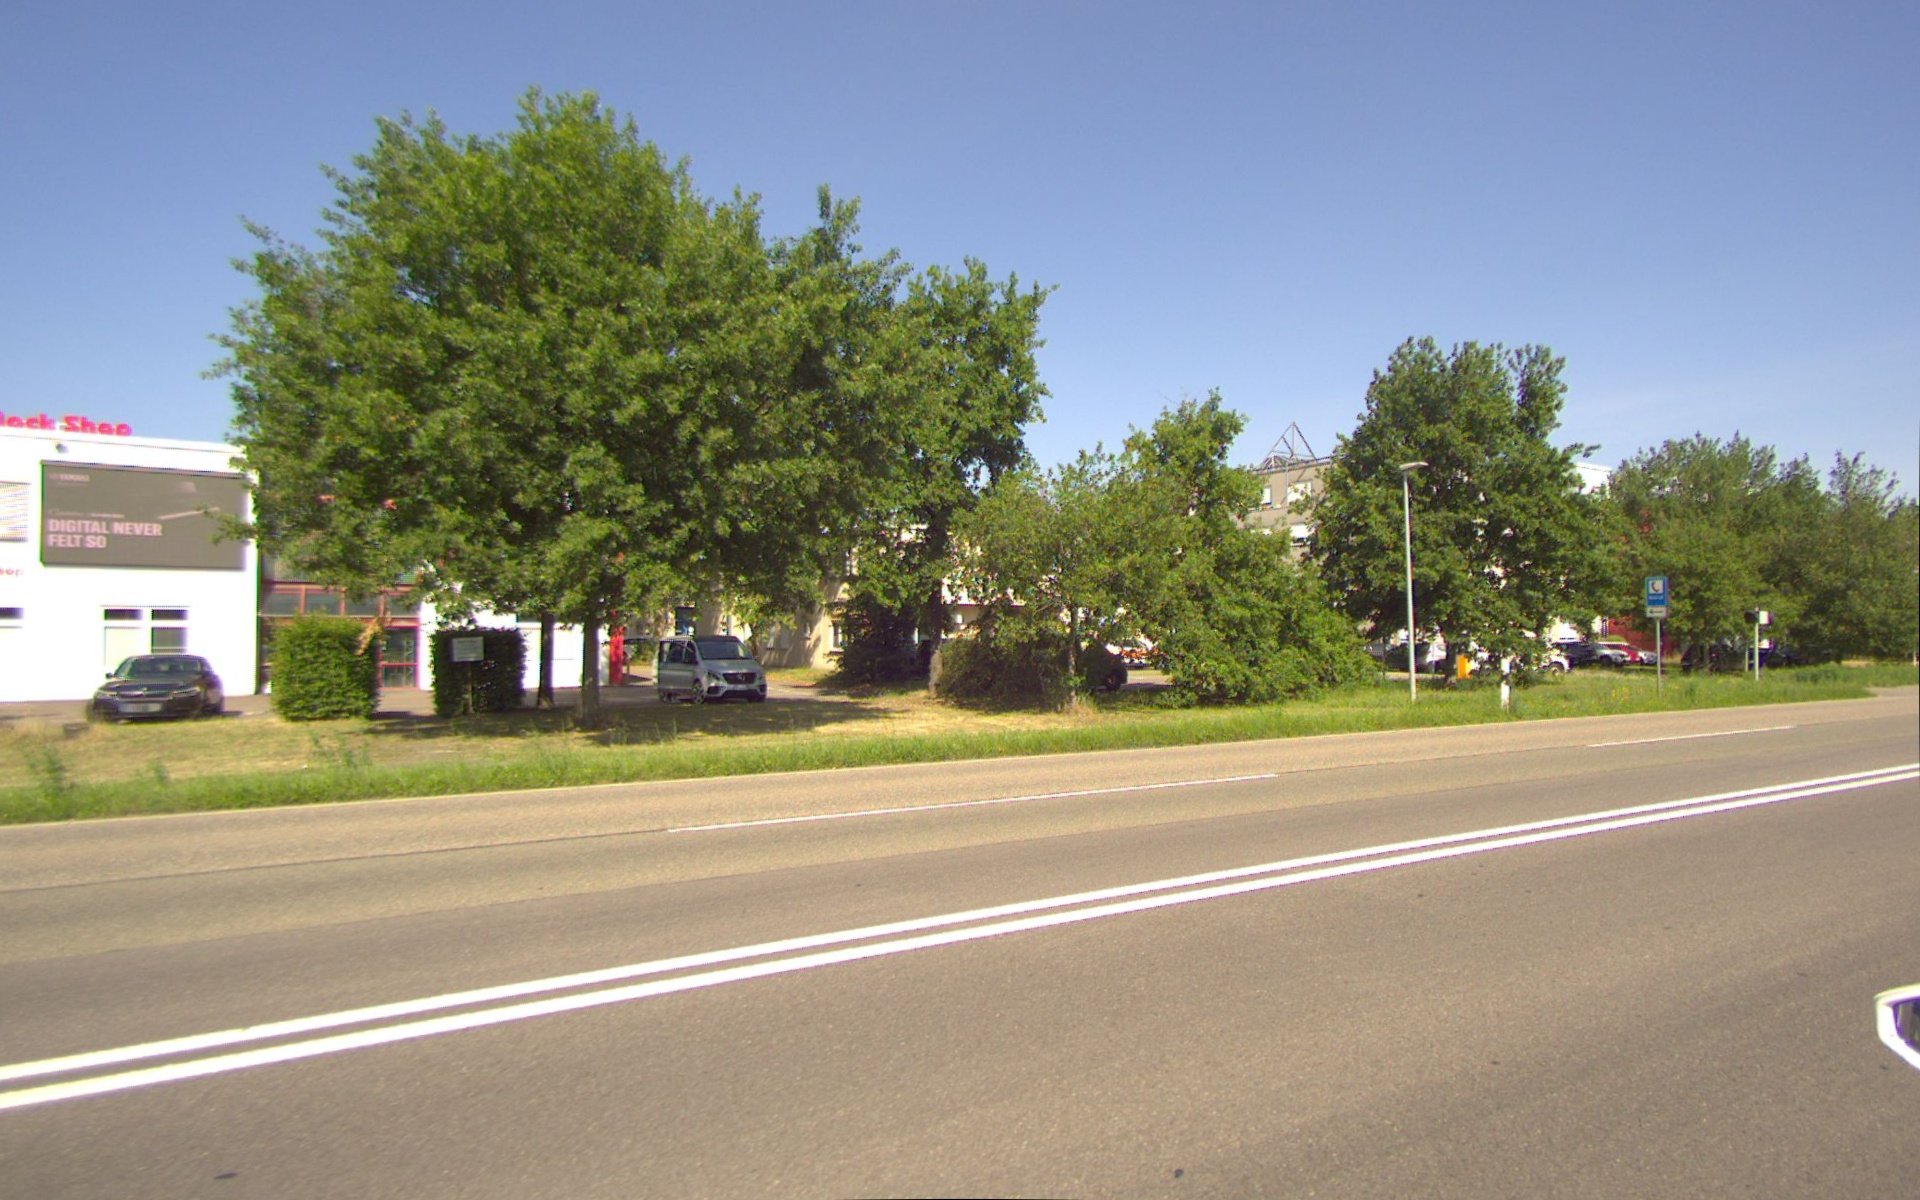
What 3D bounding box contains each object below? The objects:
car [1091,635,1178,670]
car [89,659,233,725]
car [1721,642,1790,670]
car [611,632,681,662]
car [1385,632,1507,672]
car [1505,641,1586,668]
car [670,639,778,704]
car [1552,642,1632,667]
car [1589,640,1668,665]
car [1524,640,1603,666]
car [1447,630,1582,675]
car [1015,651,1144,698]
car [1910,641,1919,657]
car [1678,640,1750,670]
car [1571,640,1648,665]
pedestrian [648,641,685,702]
[{"bbox_3d":[8.821,2.604,50.751,4.120,1.680,1.847,1,-2,-30],"label":"car"},{"bbox_3d":[-17.892,2.021,22.700,1.840,1.323,3.971,1,-4,-28],"label":"car"},{"bbox_3d":[47.919,3.334,60.499,4.495,1.599,1.735,1,-2,-30],"label":"car"},{"bbox_3d":[-19.296,2.897,61.947,3.931,1.684,1.995,1,0,-13],"label":"car"},{"bbox_3d":[23.390,2.496,48.489,4.916,1.830,2.075,1,-2,1],"label":"car"},{"bbox_3d":[36.376,3.343,62.477,1.866,1.557,3.968,1,-2,-30],"label":"car"},{"bbox_3d":[-6.970,2.061,29.323,1.976,1.753,4.204,1,-4,-30],"label":"car"},{"bbox_3d":[40.765,3.500,64.867,1.866,1.557,3.968,1,-2,-30],"label":"car"},{"bbox_3d":[45.161,3.525,67.912,1.722,1.606,4.115,1,-2,-30],"label":"car"},{"bbox_3d":[38.524,3.358,64.207,1.866,1.557,3.968,1,-2,-30],"label":"car"},{"bbox_3d":[24.823,2.333,45.112,4.916,1.954,2.075,1,-2,1],"label":"car"},{"bbox_3d":[3.860,2.367,32.381,3.953,1.368,1.664,1,-2,-30],"label":"car"},{"bbox_3d":[89.911,4.515,92.615,4.893,1.456,1.985,1,-2,-29],"label":"car"},{"bbox_3d":[43.331,3.134,57.705,4.495,1.599,1.735,1,-2,-30],"label":"car"},{"bbox_3d":[43.160,3.455,66.785,1.722,1.557,3.968,1,-2,-30],"label":"car"},{"bbox_3d":[-8.478,2.046,29.029,0.802,1.735,0.638,0,-2,9],"label":"pedestrian"}]
